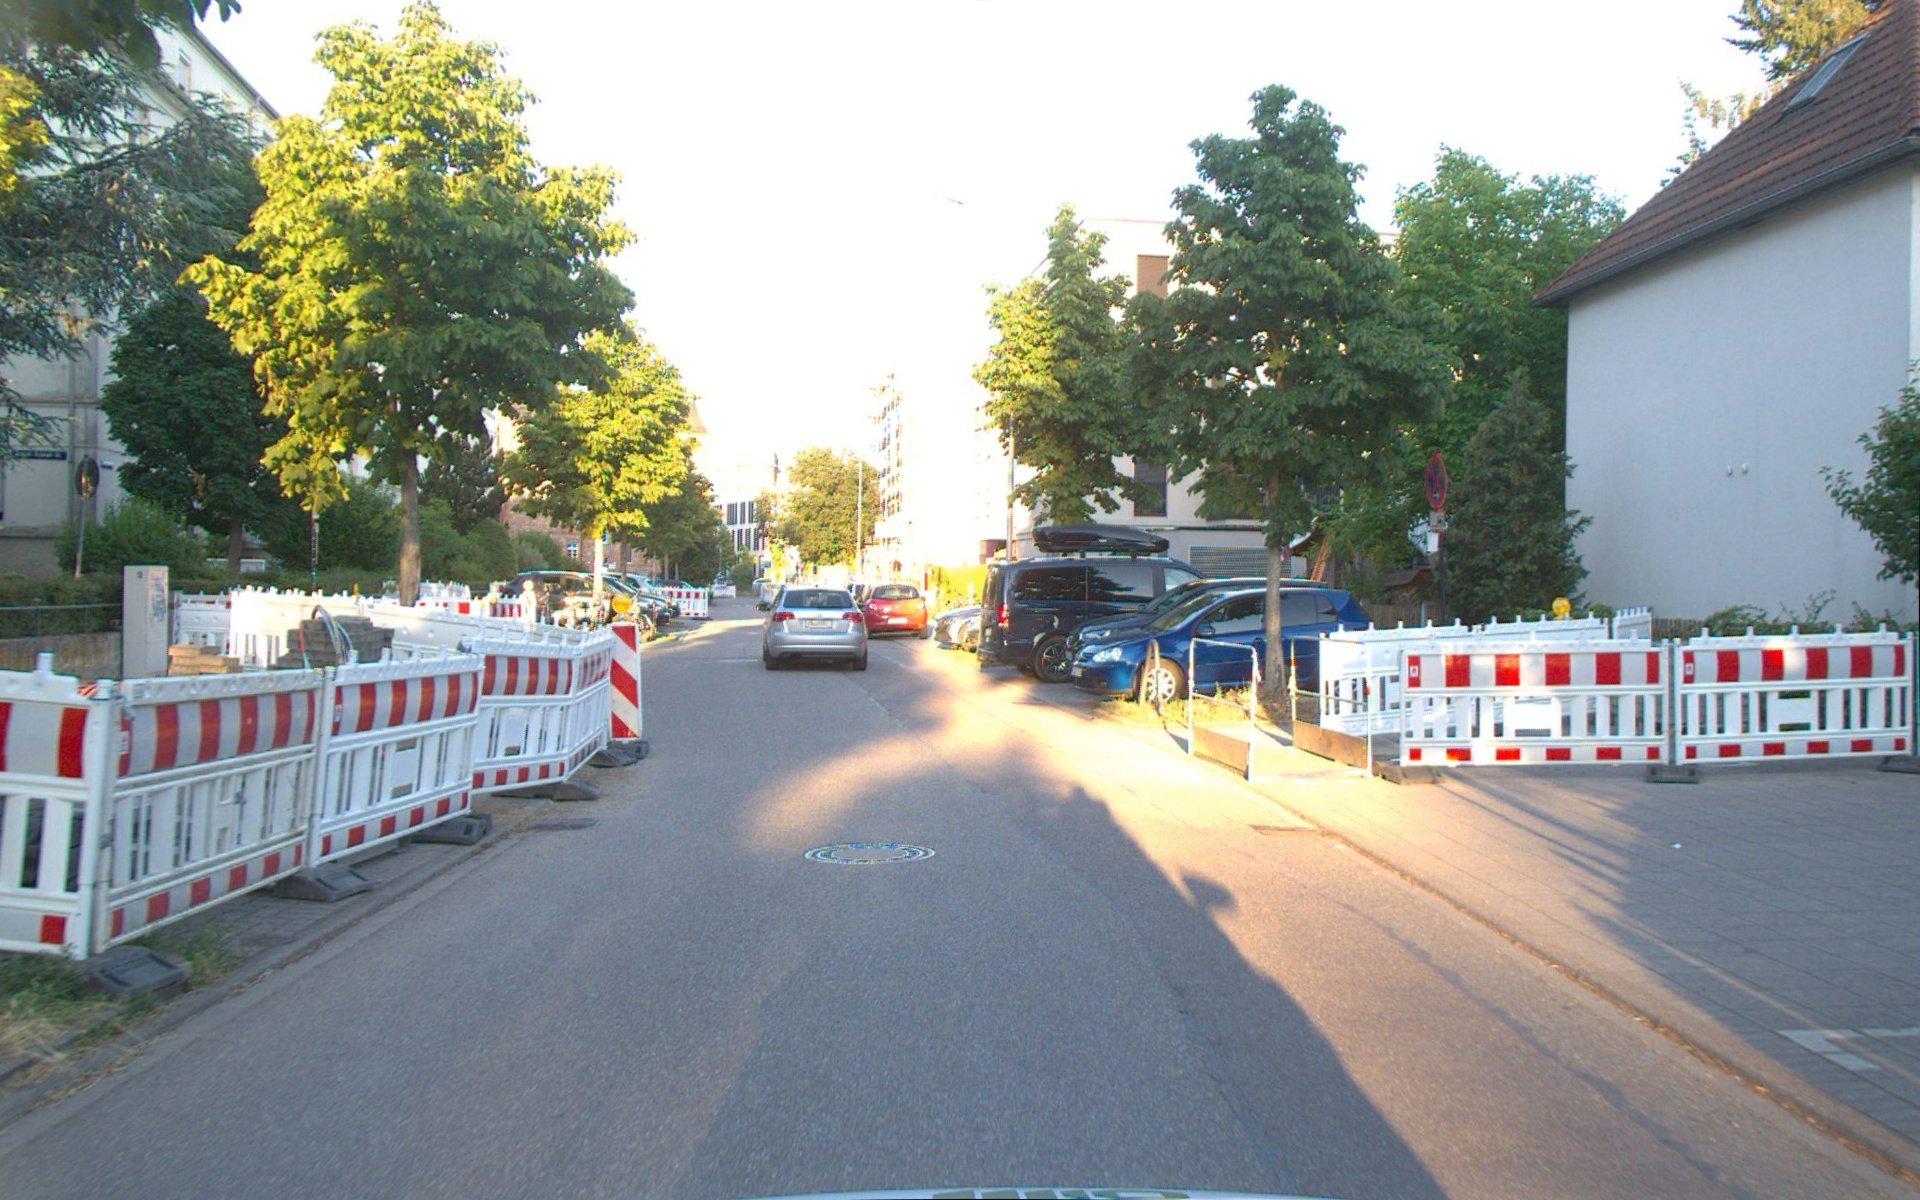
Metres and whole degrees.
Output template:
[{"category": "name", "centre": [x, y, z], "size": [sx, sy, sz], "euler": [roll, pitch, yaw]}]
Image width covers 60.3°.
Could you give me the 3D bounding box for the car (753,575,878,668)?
[{"category": "car", "centre": [-2.603, 0.336, 29.046], "size": [1.775, 1.514, 3.990], "euler": [1, 1, -11]}]

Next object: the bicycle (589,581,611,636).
[{"category": "bicycle", "centre": [-8.440, 0.185, 38.771], "size": [0.398, 1.248, 1.982], "euler": [1, 1, -10]}]

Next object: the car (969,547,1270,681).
[{"category": "car", "centre": [2.529, 0.207, 26.832], "size": [4.474, 2.058, 2.096], "euler": [0, 1, -10]}]

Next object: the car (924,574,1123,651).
[{"category": "car", "centre": [1.373, 0.268, 36.643], "size": [4.077, 1.599, 1.792], "euler": [1, 1, -13]}]

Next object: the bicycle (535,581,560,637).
[{"category": "bicycle", "centre": [-9.596, 0.204, 38.526], "size": [0.398, 1.248, 1.982], "euler": [1, 1, -10]}]

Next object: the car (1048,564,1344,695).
[{"category": "car", "centre": [3.442, 0.412, 24.544], "size": [3.914, 1.799, 1.996], "euler": [1, 1, -10]}]

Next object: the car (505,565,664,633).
[{"category": "car", "centre": [-9.754, -0.031, 43.235], "size": [3.914, 1.653, 1.996], "euler": [1, 1, -10]}]

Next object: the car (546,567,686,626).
[{"category": "car", "centre": [-10.030, -0.107, 48.459], "size": [3.914, 1.633, 1.869], "euler": [1, 1, -10]}]

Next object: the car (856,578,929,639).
[{"category": "car", "centre": [-1.849, 0.202, 44.347], "size": [1.697, 1.509, 3.553], "euler": [1, 1, -6]}]

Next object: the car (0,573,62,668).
[{"category": "car", "centre": [-18.172, 0.326, 29.227], "size": [3.640, 1.617, 1.757], "euler": [1, 1, -11]}]

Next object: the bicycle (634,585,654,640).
[{"category": "bicycle", "centre": [-7.410, 0.275, 38.749], "size": [0.399, 1.248, 1.981], "euler": [1, 1, -13]}]

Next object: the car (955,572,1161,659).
[{"category": "car", "centre": [1.997, 0.304, 34.252], "size": [3.871, 1.677, 1.970], "euler": [1, 1, -13]}]

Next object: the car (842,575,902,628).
[{"category": "car", "centre": [-2.933, 0.027, 54.659], "size": [1.774, 1.641, 3.576], "euler": [1, 1, -6]}]

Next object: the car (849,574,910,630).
[{"category": "car", "centre": [-2.455, 0.026, 49.875], "size": [1.632, 1.600, 3.436], "euler": [1, 1, -6]}]

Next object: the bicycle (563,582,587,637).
[{"category": "bicycle", "centre": [-9.005, 0.208, 38.706], "size": [0.398, 1.248, 1.982], "euler": [1, 1, -10]}]

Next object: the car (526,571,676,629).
[{"category": "car", "centre": [-9.869, -0.013, 45.743], "size": [3.914, 1.506, 1.996], "euler": [1, 1, -10]}]

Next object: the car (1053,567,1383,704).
[{"category": "car", "centre": [3.361, 0.449, 21.824], "size": [3.917, 1.680, 1.759], "euler": [1, 1, -13]}]
